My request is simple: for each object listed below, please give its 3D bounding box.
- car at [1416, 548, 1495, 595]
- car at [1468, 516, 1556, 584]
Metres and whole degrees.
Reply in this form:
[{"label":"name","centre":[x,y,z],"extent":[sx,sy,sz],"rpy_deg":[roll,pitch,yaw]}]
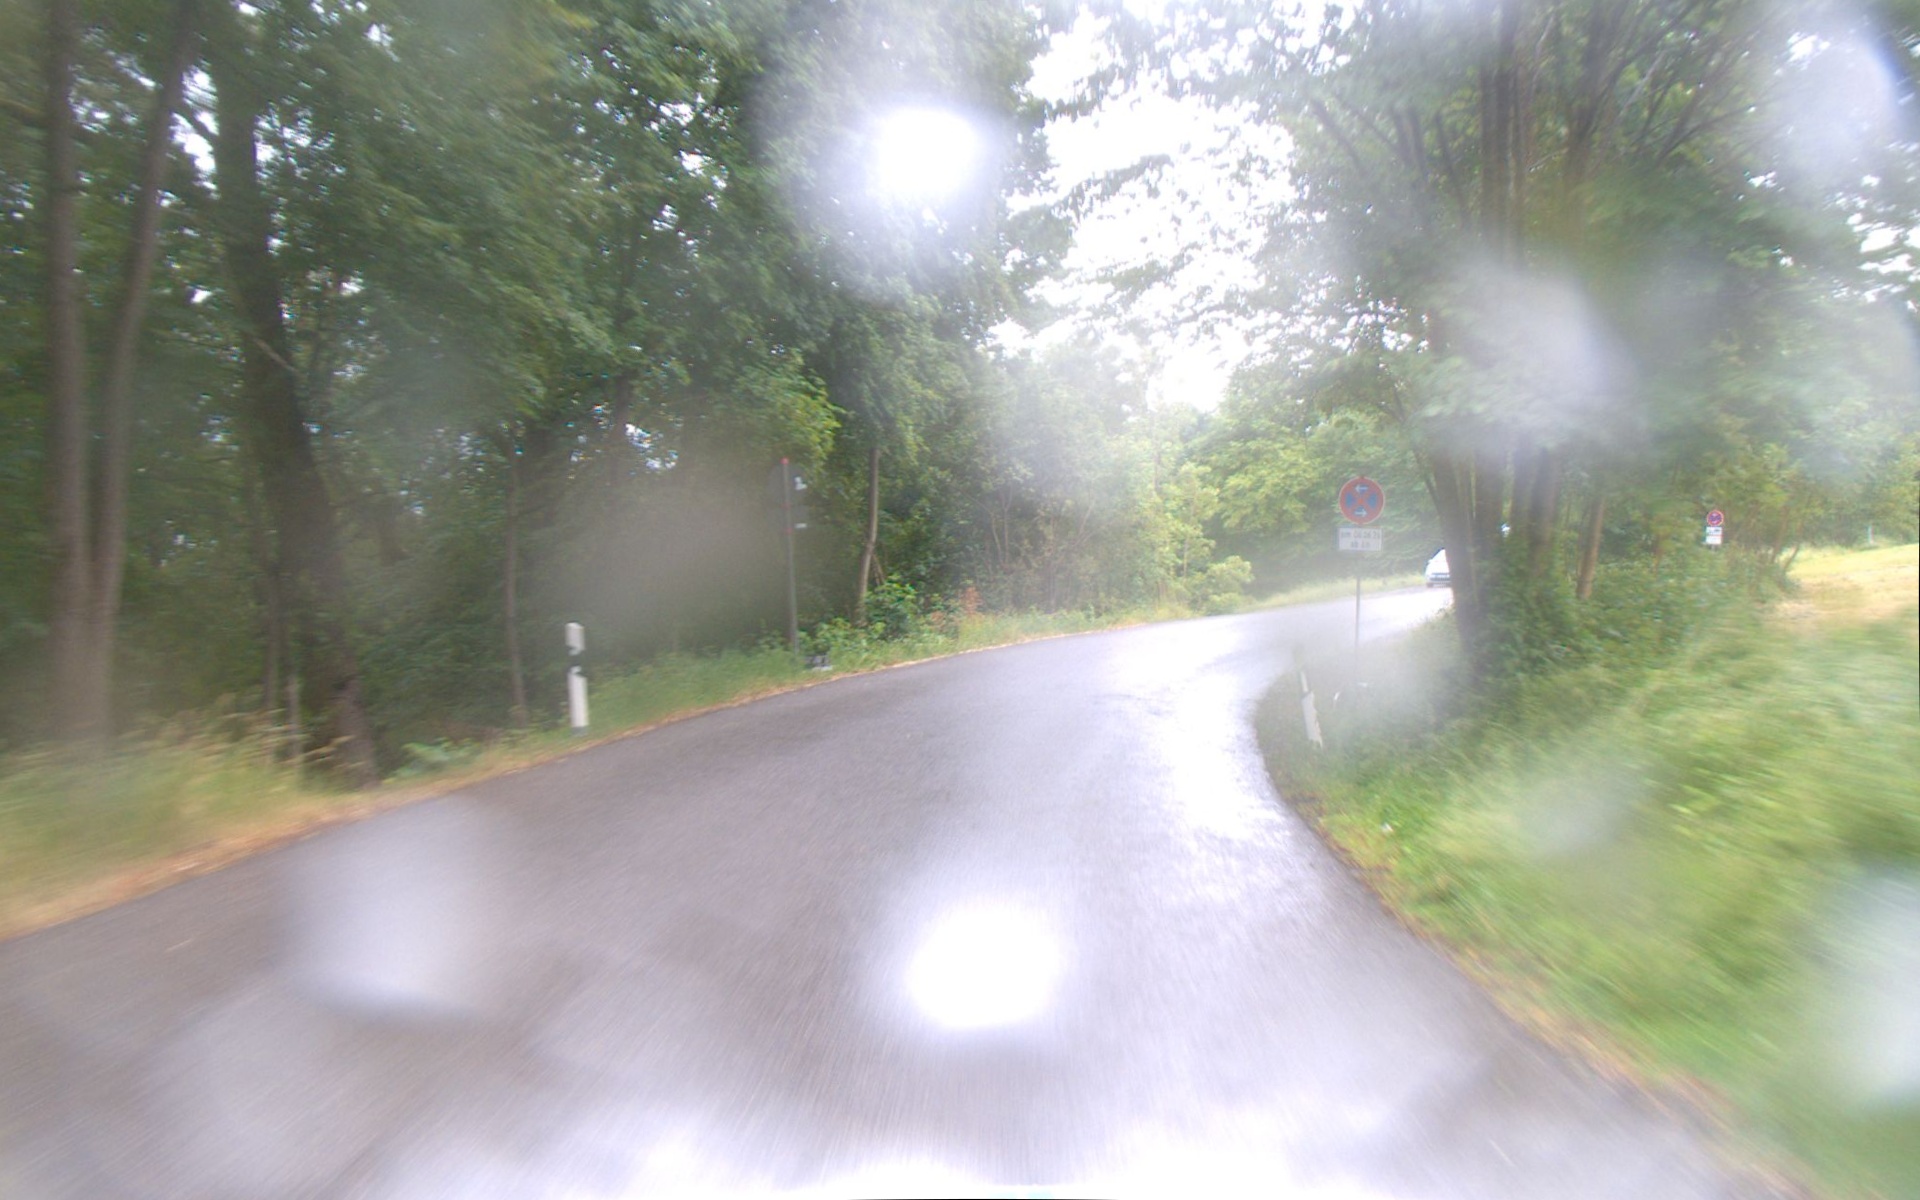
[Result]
[{"label":"car","centre":[20.110,-1.180,66.964],"extent":[1.828,1.623,4.484],"rpy_deg":[-3,2,33]},{"label":"car","centre":[25.224,-2.307,75.409],"extent":[2.232,2.743,6.034],"rpy_deg":[-4,1,33]}]
